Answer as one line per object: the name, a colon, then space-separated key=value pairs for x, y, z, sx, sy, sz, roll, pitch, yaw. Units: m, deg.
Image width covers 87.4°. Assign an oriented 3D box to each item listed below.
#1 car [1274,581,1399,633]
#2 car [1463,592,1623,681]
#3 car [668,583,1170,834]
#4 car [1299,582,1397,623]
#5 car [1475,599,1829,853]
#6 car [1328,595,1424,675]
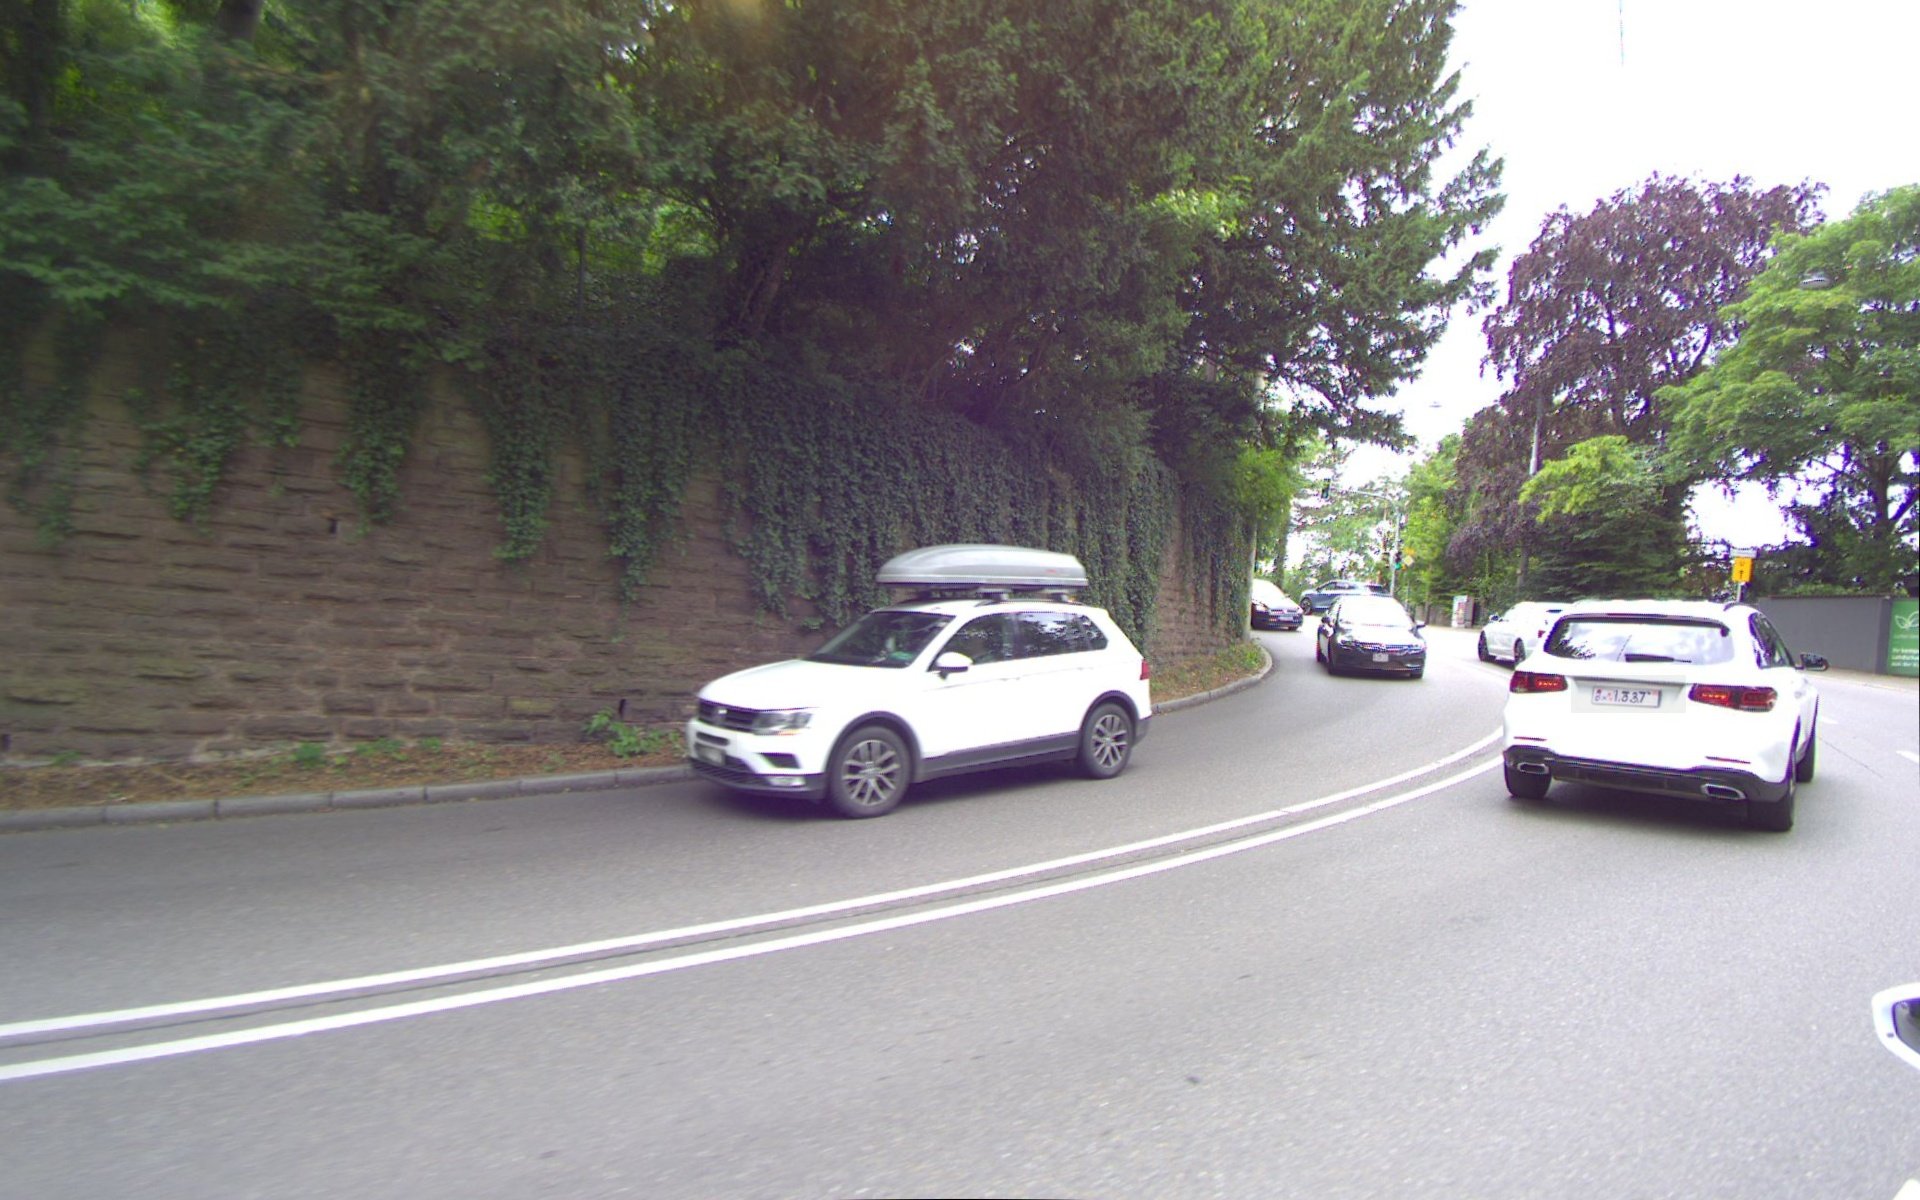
car: x=11.999 y=0.177 z=32.313 sx=1.777 sy=1.462 sz=3.987 roll=1 pitch=2 yaw=-14
car: x=12.843 y=0.702 z=22.490 sx=1.833 sy=1.555 sz=4.777 roll=3 pitch=3 yaw=15
car: x=-0.156 y=0.751 z=8.855 sx=4.355 sy=1.675 sz=1.753 roll=0 pitch=-1 yaw=-43
car: x=15.609 y=0.081 z=40.632 sx=1.608 sy=1.439 sz=3.839 roll=1 pitch=2 yaw=-18
car: x=6.231 y=0.833 z=8.781 sx=1.839 sy=1.627 sz=4.643 roll=1 pitch=0 yaw=44
car: x=8.556 y=0.642 z=20.881 sx=1.630 sy=1.459 sz=4.294 roll=1 pitch=1 yaw=21
